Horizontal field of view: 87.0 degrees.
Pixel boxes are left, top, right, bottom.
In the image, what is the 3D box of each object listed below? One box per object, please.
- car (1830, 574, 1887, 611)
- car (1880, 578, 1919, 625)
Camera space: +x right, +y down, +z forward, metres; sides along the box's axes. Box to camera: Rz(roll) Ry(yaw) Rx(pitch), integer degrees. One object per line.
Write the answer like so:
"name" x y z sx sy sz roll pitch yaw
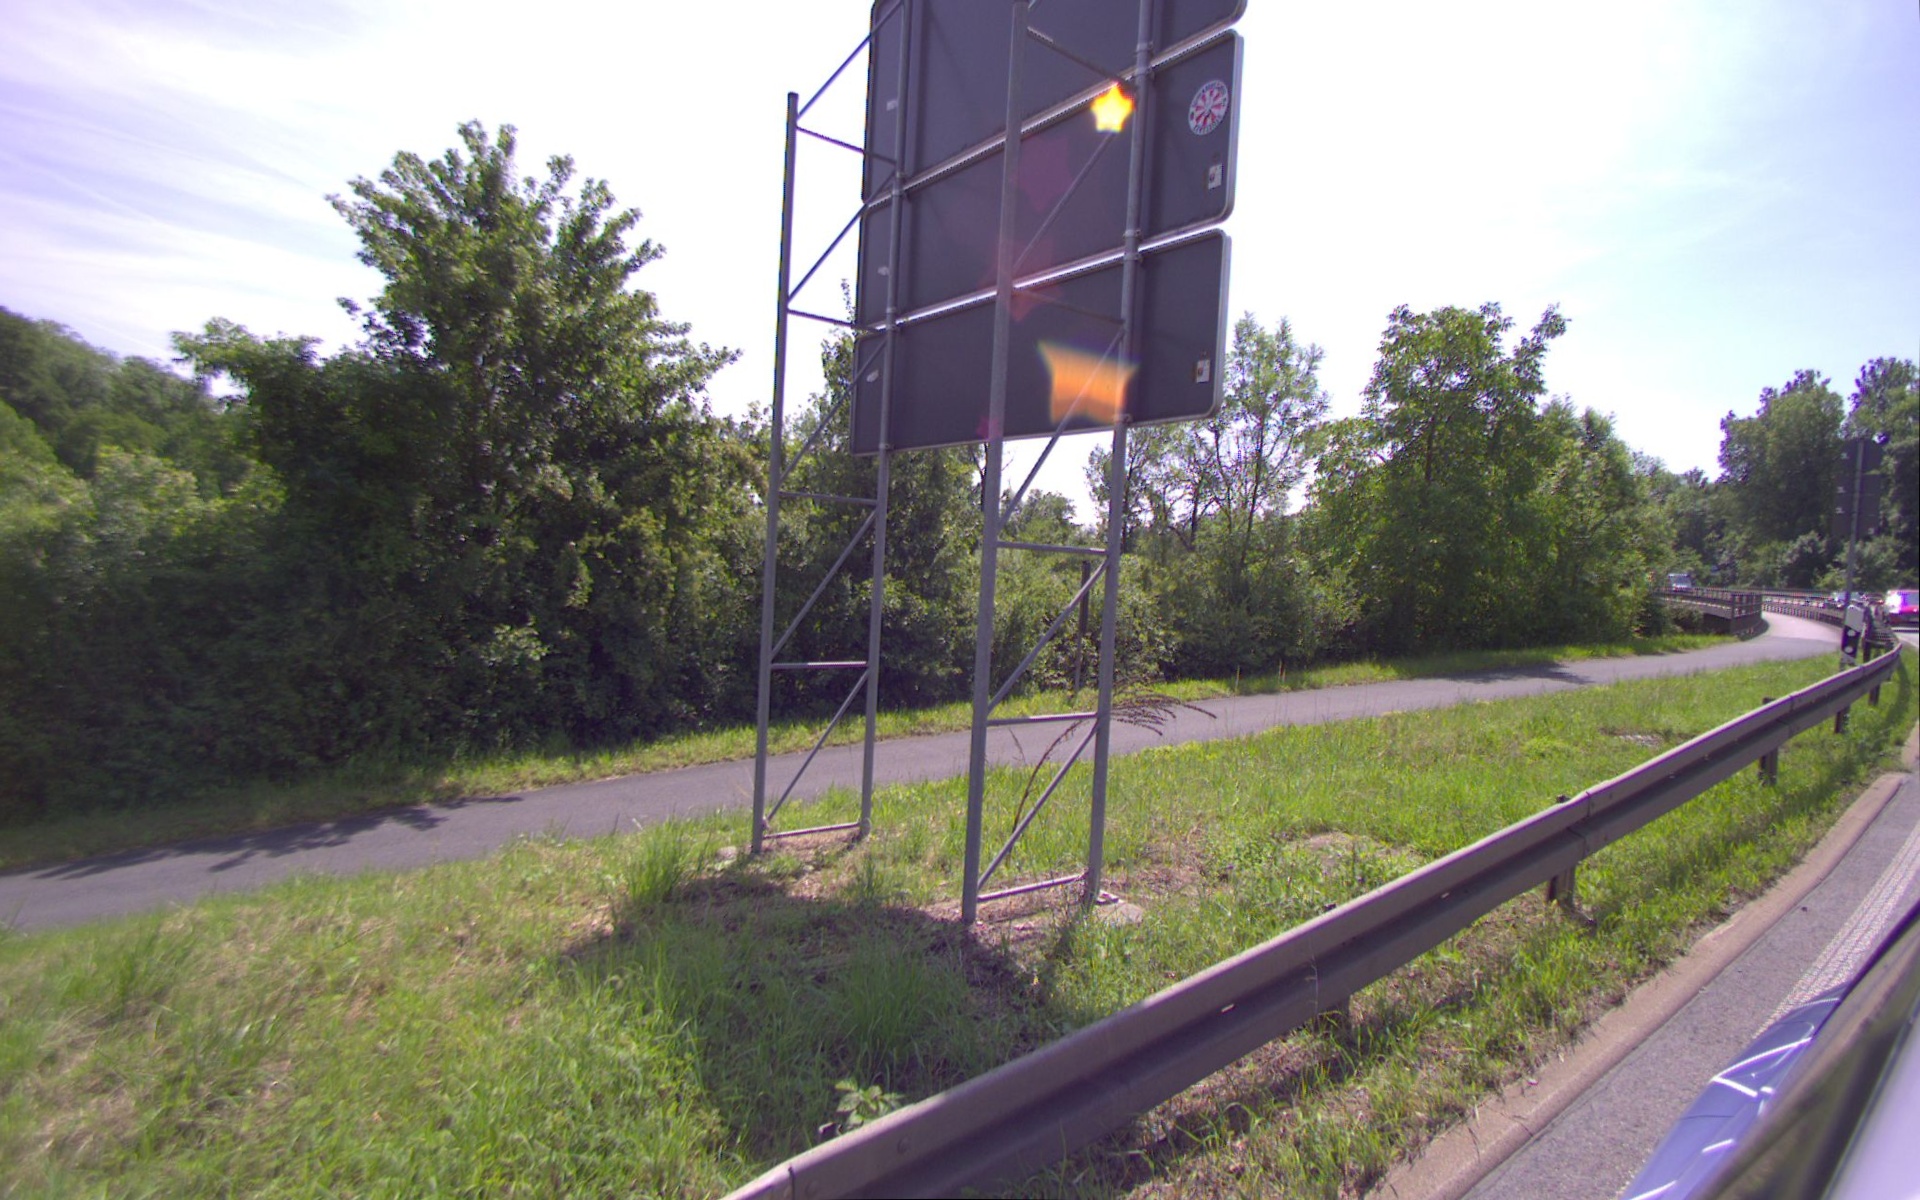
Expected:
"car" 52.586 -0.439 59.295 1.987 2.039 3.951 -1 1 35
"car" 38.293 0.057 40.302 1.988 1.798 3.947 -1 0 37
